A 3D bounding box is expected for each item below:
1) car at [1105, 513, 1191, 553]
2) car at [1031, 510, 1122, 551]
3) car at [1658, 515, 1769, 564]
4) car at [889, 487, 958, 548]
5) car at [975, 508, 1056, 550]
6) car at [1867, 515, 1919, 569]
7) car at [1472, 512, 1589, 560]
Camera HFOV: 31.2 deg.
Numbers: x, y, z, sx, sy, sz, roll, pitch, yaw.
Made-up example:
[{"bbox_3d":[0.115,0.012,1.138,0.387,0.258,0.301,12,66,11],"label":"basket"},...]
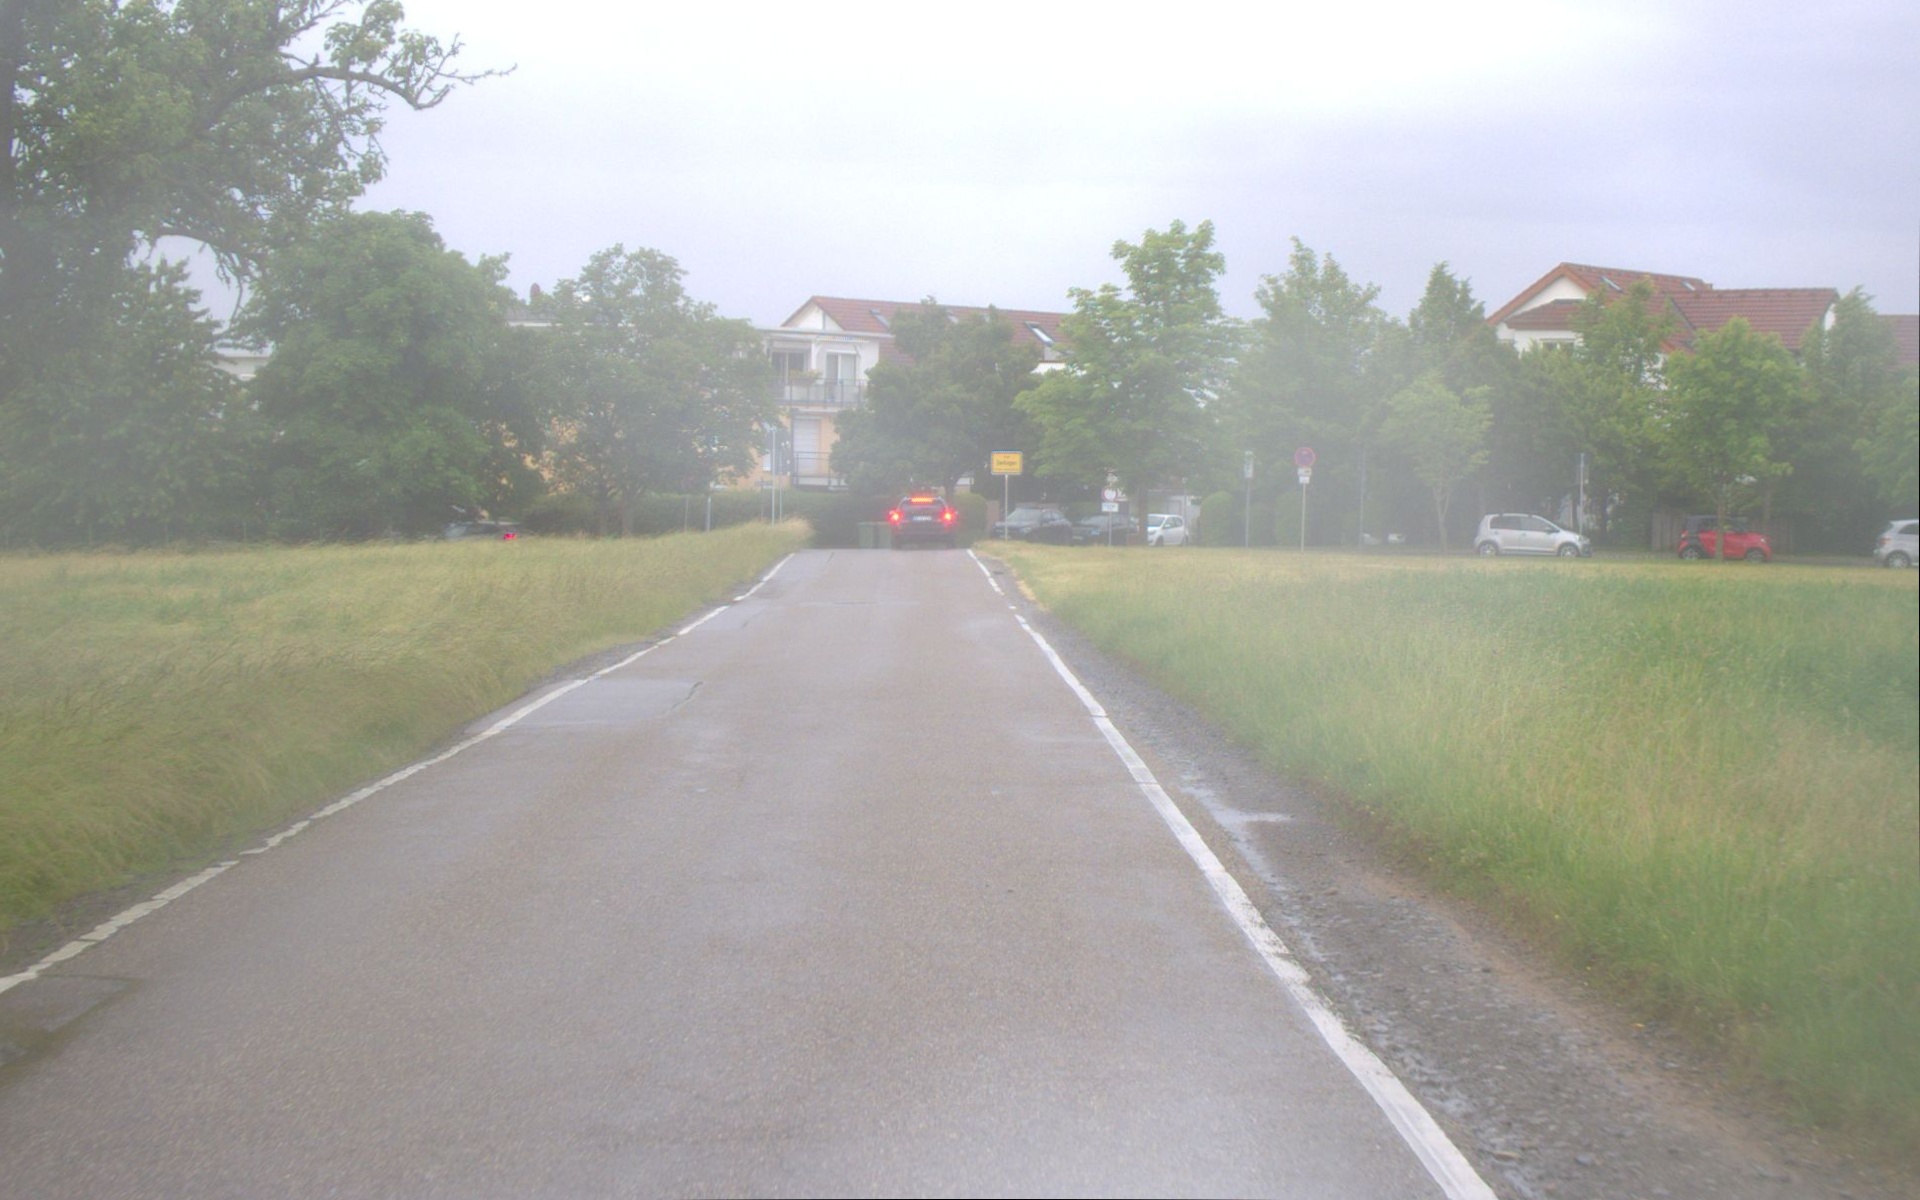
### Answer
[{"bbox_3d":[7.765,-2.749,141.943,1.664,1.541,3.992,2,1,35],"label":"car"},{"bbox_3d":[4.682,-2.761,137.736,1.664,1.541,3.992,2,1,35],"label":"car"},{"bbox_3d":[22.534,-1.805,102.808,3.194,1.366,1.571,1,1,13],"label":"car"},{"bbox_3d":[-0.992,-2.280,95.734,1.814,1.588,4.000,1,1,0],"label":"car"},{"bbox_3d":[2.153,-2.758,133.169,1.663,1.541,3.995,1,1,24],"label":"car"},{"bbox_3d":[28.667,-1.672,101.174,3.711,1.558,1.609,1,1,13],"label":"car"},{"bbox_3d":[17.280,-1.933,104.161,3.392,1.366,1.547,1,1,13],"label":"car"}]
